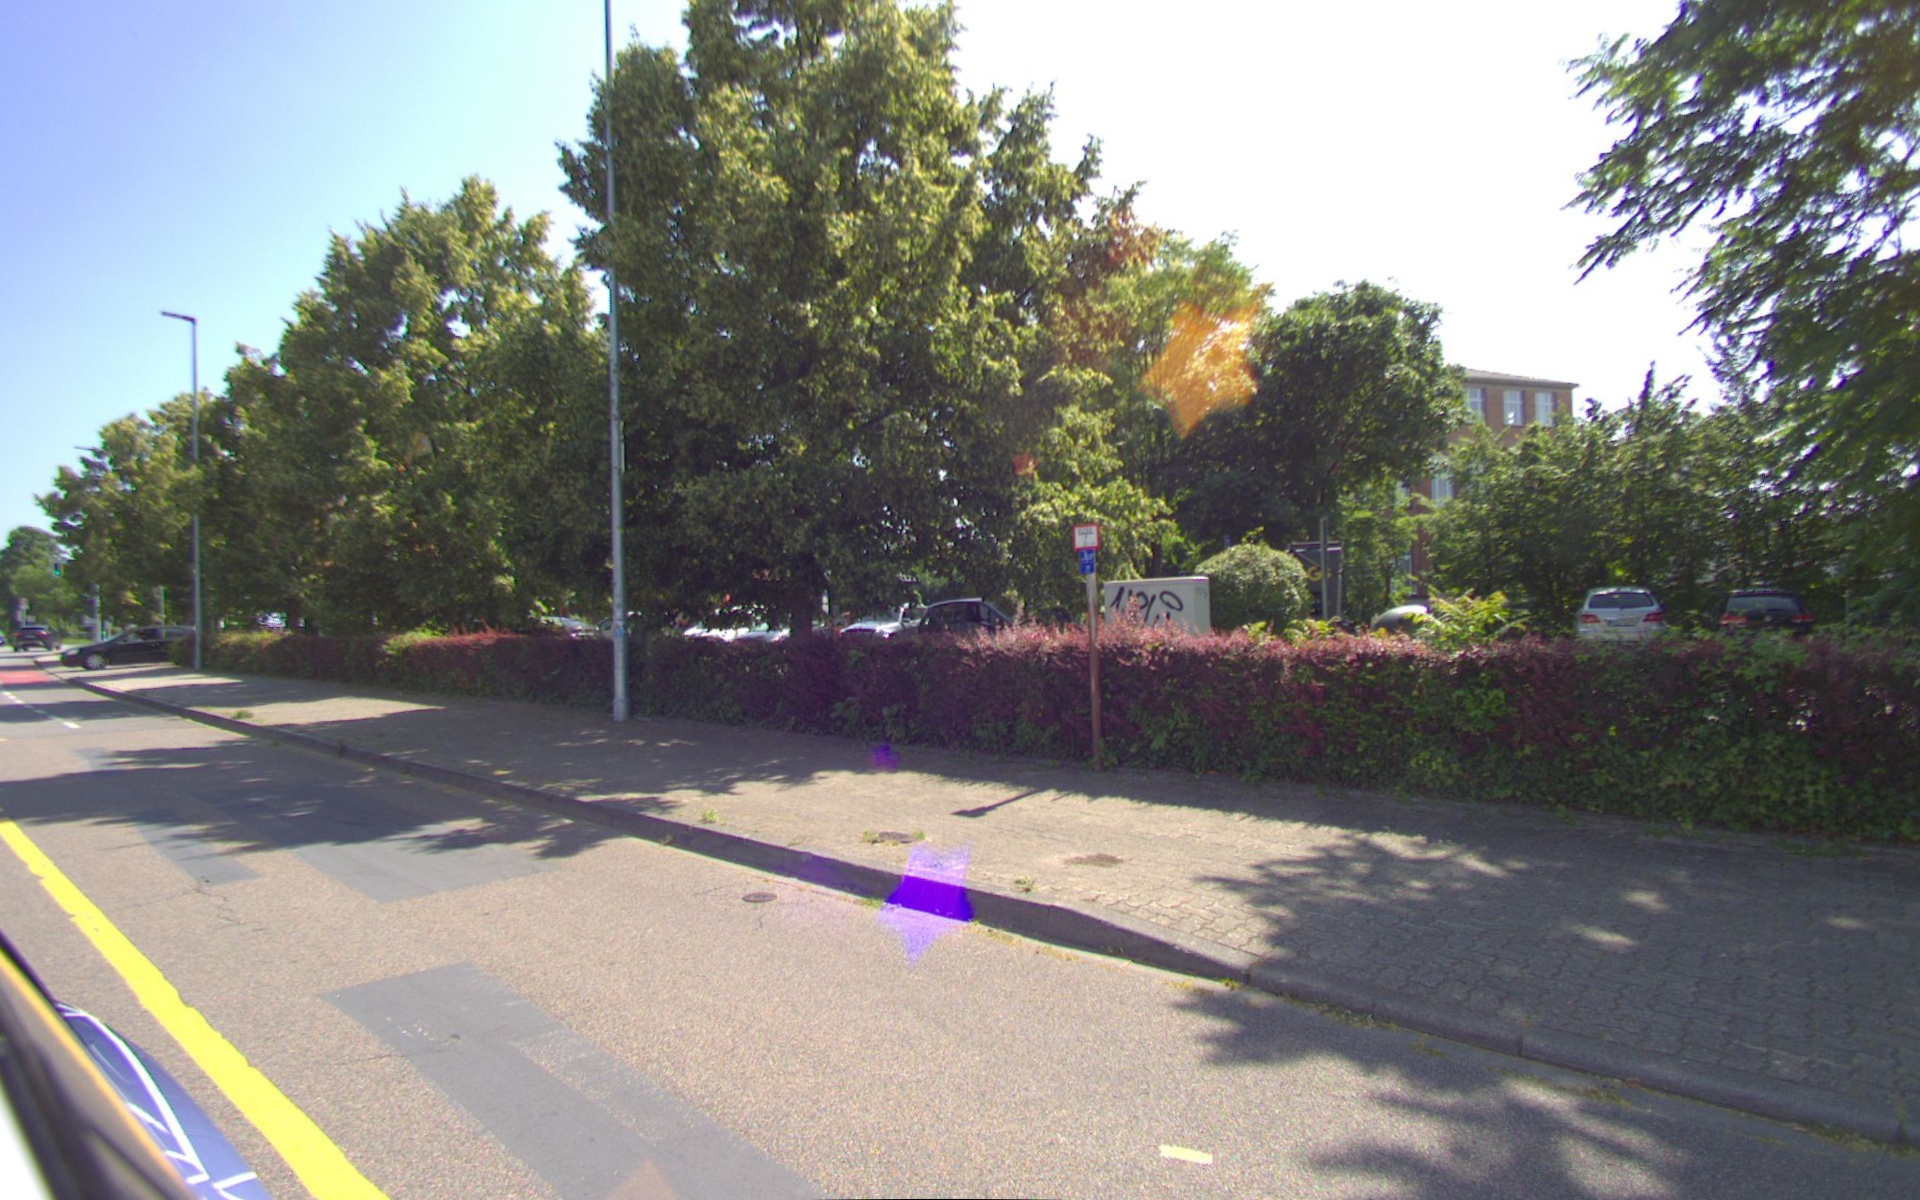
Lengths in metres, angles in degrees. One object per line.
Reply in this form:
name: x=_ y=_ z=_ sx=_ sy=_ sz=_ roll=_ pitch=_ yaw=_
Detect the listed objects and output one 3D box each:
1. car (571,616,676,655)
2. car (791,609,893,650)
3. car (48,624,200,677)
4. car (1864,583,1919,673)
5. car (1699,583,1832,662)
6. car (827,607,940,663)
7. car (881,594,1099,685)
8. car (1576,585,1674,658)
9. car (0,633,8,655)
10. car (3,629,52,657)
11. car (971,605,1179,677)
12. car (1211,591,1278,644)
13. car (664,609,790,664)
car: x=-14.458 y=1.531 z=43.446 sx=4.120 sy=1.564 sz=1.904 roll=-2 pitch=-1 yaw=26
car: x=-5.435 y=1.356 z=46.523 sx=4.347 sy=1.698 sz=1.845 roll=-2 pitch=1 yaw=28
car: x=-29.236 y=1.723 z=35.473 sx=3.941 sy=1.475 sz=1.882 roll=-4 pitch=2 yaw=-44
car: x=17.669 y=0.439 z=17.881 sx=1.698 sy=1.464 sz=3.959 roll=-3 pitch=0 yaw=30
car: x=17.389 y=0.447 z=22.026 sx=1.769 sy=1.481 sz=3.956 roll=-3 pitch=0 yaw=32
car: x=-2.411 y=1.098 z=33.076 sx=1.851 sy=1.698 sz=4.331 roll=-2 pitch=-1 yaw=24
car: x=0.549 y=0.819 z=21.060 sx=4.363 sy=1.699 sz=1.837 roll=-2 pitch=-3 yaw=40
car: x=16.201 y=0.477 z=24.815 sx=1.768 sy=1.584 sz=3.958 roll=-3 pitch=0 yaw=31
car: x=-75.803 y=3.366 z=77.273 sx=4.467 sy=1.657 sz=1.998 roll=-1 pitch=-1 yaw=3
car: x=-59.607 y=2.723 z=64.748 sx=1.968 sy=1.657 sz=4.536 roll=1 pitch=-2 yaw=-39
car: x=2.499 y=0.909 z=22.657 sx=4.363 sy=1.464 sz=1.837 roll=-2 pitch=-3 yaw=40
car: x=10.759 y=0.630 z=38.086 sx=1.764 sy=1.747 sz=3.967 roll=-4 pitch=-1 yaw=24
car: x=-7.661 y=1.174 z=33.700 sx=1.852 sy=1.698 sz=4.275 roll=-2 pitch=-1 yaw=25
